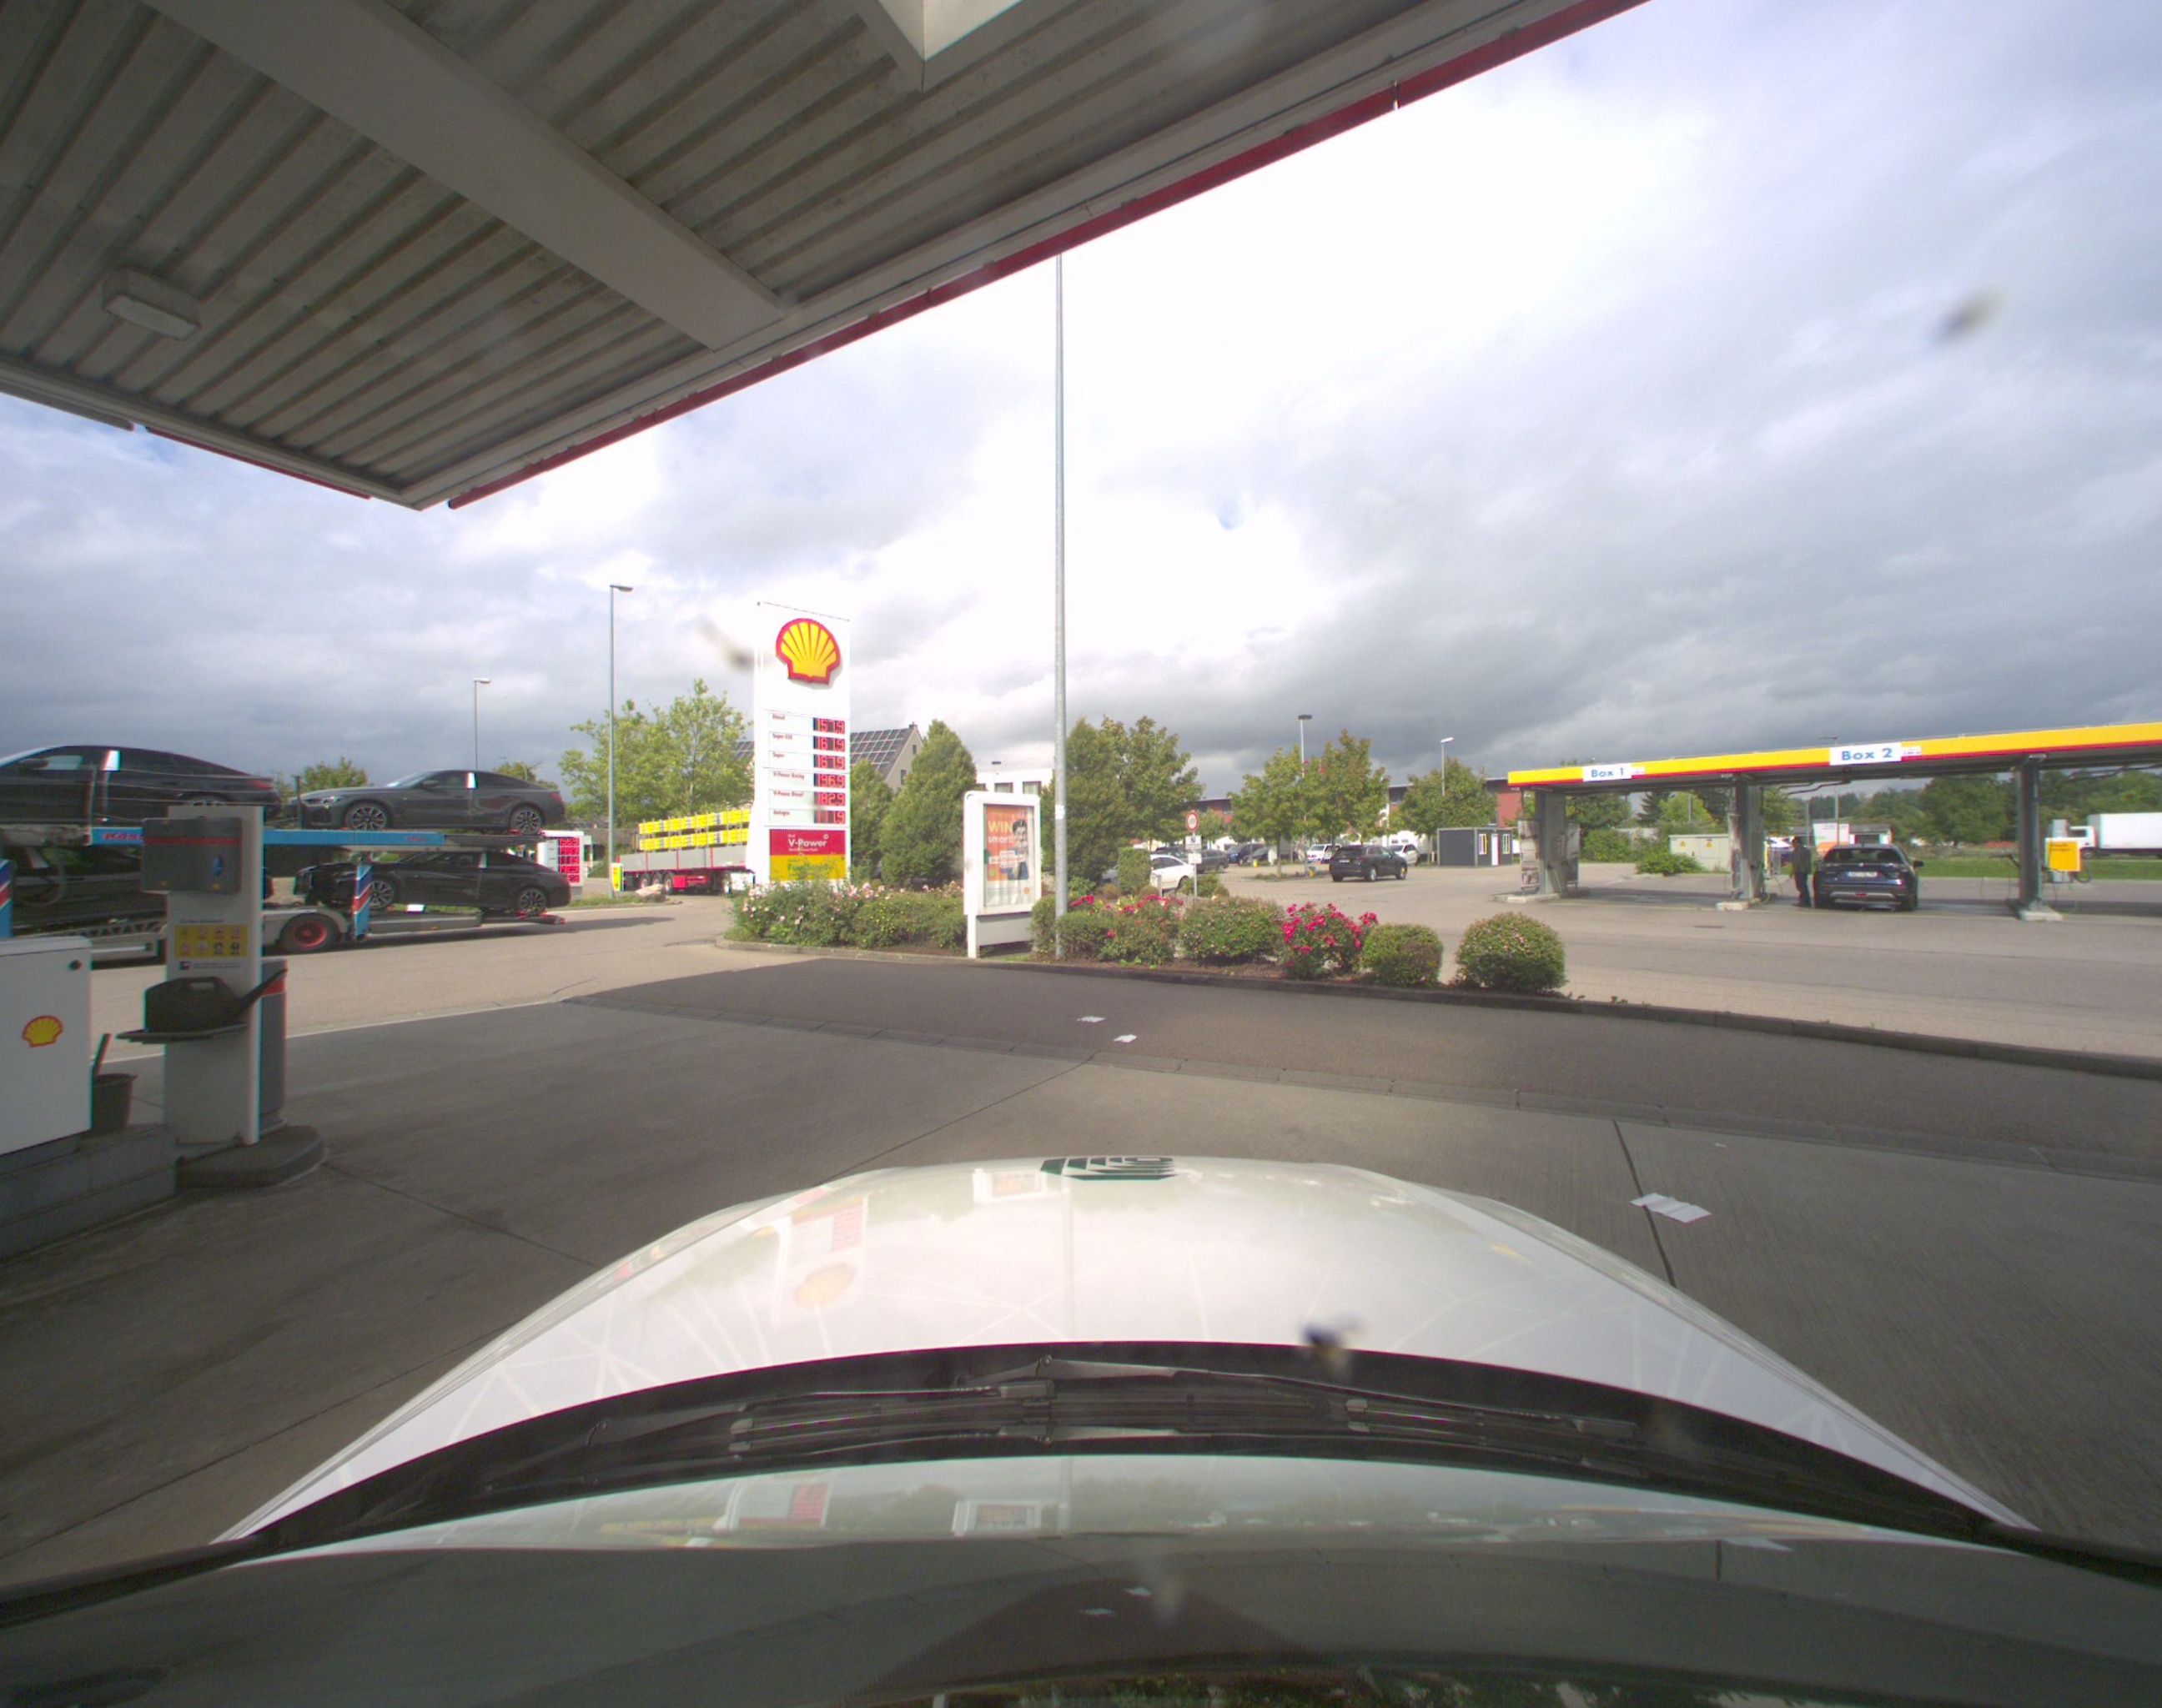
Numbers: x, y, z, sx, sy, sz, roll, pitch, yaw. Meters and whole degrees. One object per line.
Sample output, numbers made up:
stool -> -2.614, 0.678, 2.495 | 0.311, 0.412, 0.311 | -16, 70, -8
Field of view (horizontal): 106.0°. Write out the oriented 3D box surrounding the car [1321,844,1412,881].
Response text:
car -> 12.861, 0.370, 36.572 | 4.527, 1.548, 1.864 | 0, -1, -41

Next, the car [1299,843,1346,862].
car -> 23.855, -0.127, 80.262 | 4.903, 1.833, 2.159 | 0, -1, -41

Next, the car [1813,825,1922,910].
car -> 19.424, 0.314, 20.068 | 3.828, 1.897, 1.703 | 0, -1, -43

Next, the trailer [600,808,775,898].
trailer -> -19.239, 0.028, 39.127 | 12.550, 3.776, 2.756 | -1, -1, 40

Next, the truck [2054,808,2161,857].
truck -> 78.214, -1.553, 60.006 | 7.989, 3.534, 2.714 | -1, -1, 41

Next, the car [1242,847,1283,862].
car -> 14.475, 0.029, 64.868 | 3.437, 1.179, 1.468 | 0, -1, -42

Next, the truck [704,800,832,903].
truck -> -12.907, -0.065, 33.349 | 2.757, 3.846, 5.845 | 0, -1, -45

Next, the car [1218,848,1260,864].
car -> 12.932, 0.176, 66.652 | 3.407, 1.320, 1.726 | 0, -1, -42

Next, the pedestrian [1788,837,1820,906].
pedestrian -> 18.227, 0.437, 20.528 | 0.551, 1.722, 0.531 | -1, -1, 38

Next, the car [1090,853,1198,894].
car -> 2.379, 0.678, 30.013 | 4.368, 1.404, 1.354 | 0, -1, -42

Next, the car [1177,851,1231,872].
car -> 7.523, 0.443, 49.698 | 3.245, 1.228, 1.488 | 0, -1, -42

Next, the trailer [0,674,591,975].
trailer -> -16.448, -0.420, 13.674 | 2.711, 4.423, 14.450 | -1, -1, 31

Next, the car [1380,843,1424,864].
car -> 20.591, -0.050, 52.209 | 3.120, 1.307, 1.352 | 0, -1, -42
